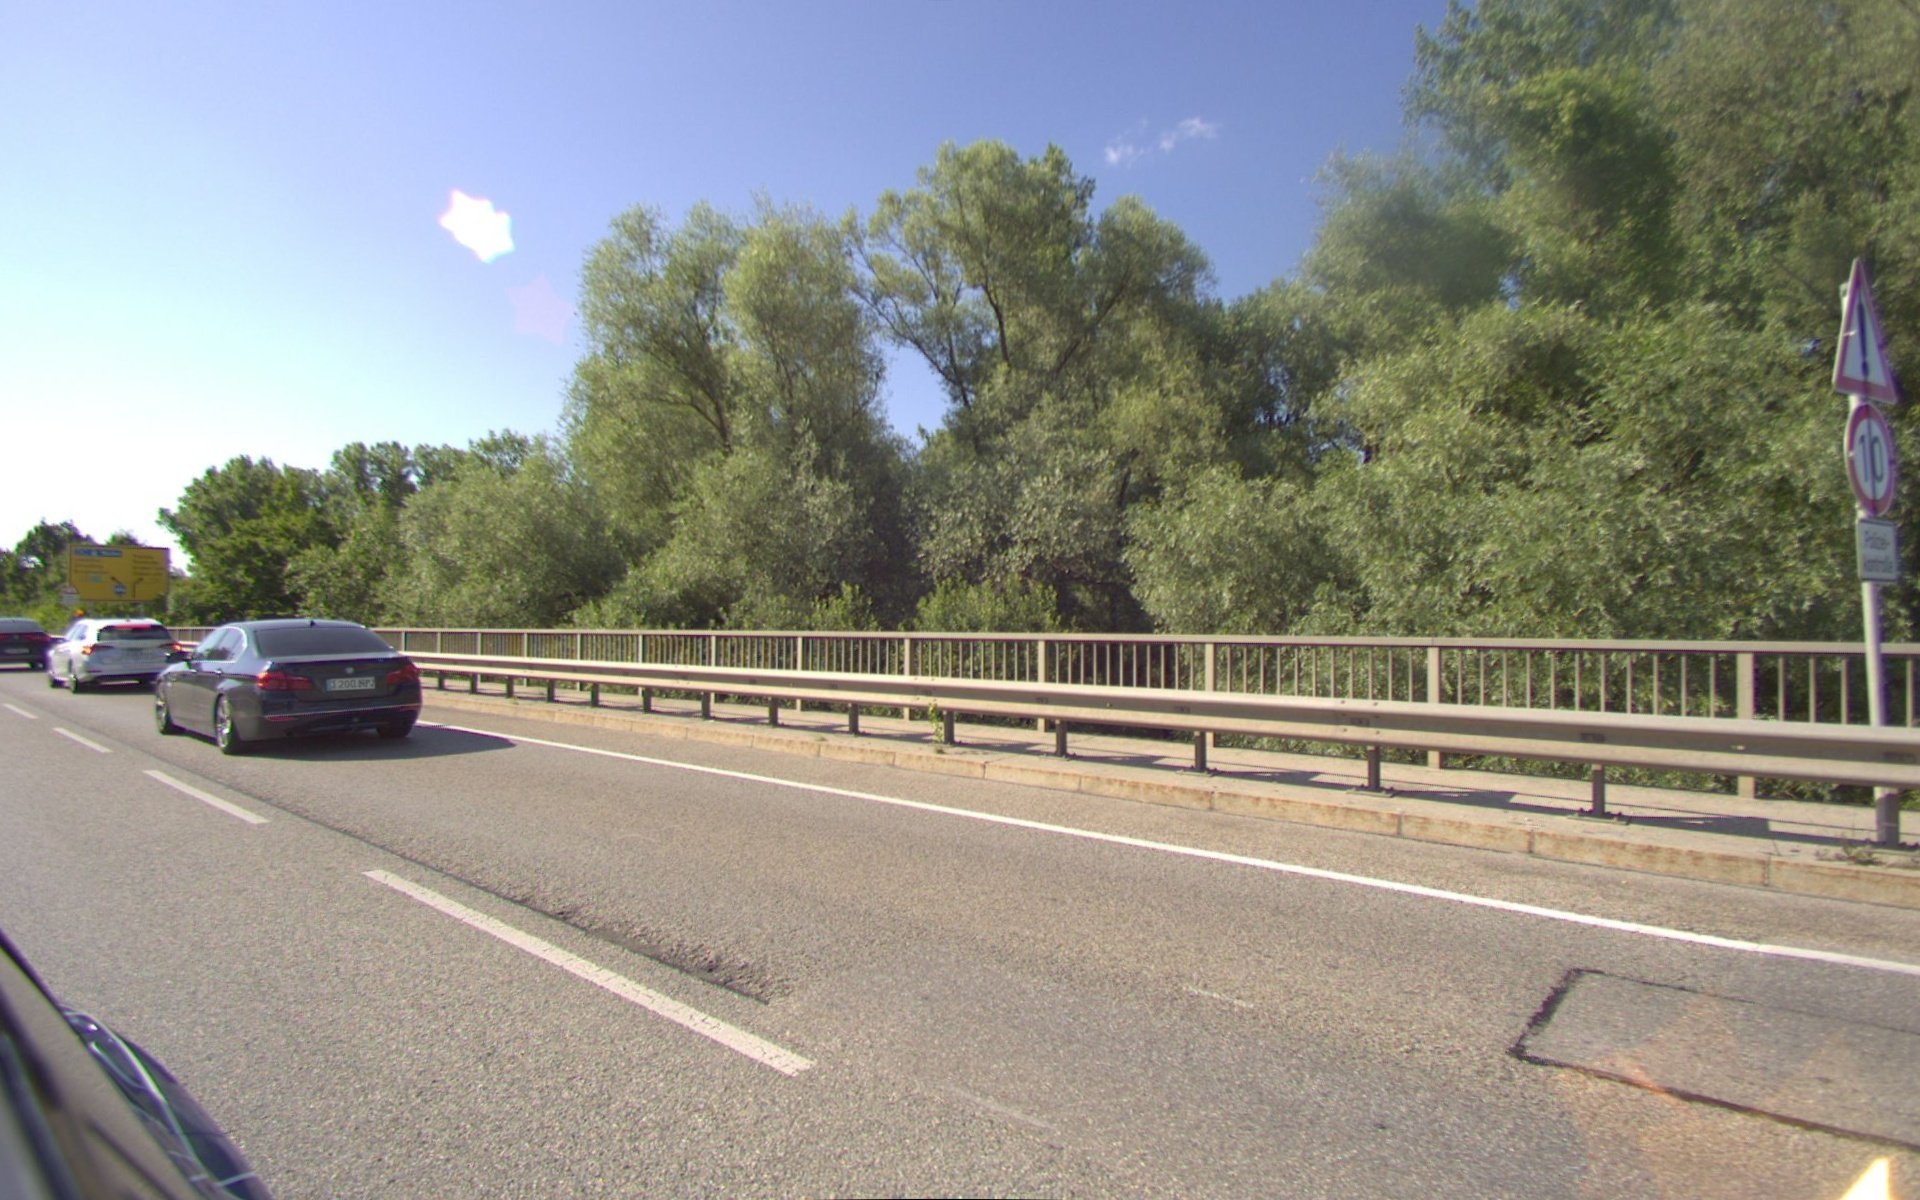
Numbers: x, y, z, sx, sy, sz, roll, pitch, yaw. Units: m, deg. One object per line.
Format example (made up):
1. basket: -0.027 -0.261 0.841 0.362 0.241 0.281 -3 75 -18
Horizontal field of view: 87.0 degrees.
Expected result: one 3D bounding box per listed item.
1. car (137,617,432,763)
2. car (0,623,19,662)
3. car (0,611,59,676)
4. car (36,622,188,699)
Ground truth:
1. car: -8.283 0.935 12.225 4.648 1.431 1.768 -1 -1 40
2. car: -39.576 1.714 40.855 4.270 1.499 1.869 -1 0 41
3. car: -28.666 1.269 30.368 4.529 1.820 1.946 -1 -1 42
4. car: -17.907 1.190 21.303 4.483 1.447 1.714 -1 -1 40
